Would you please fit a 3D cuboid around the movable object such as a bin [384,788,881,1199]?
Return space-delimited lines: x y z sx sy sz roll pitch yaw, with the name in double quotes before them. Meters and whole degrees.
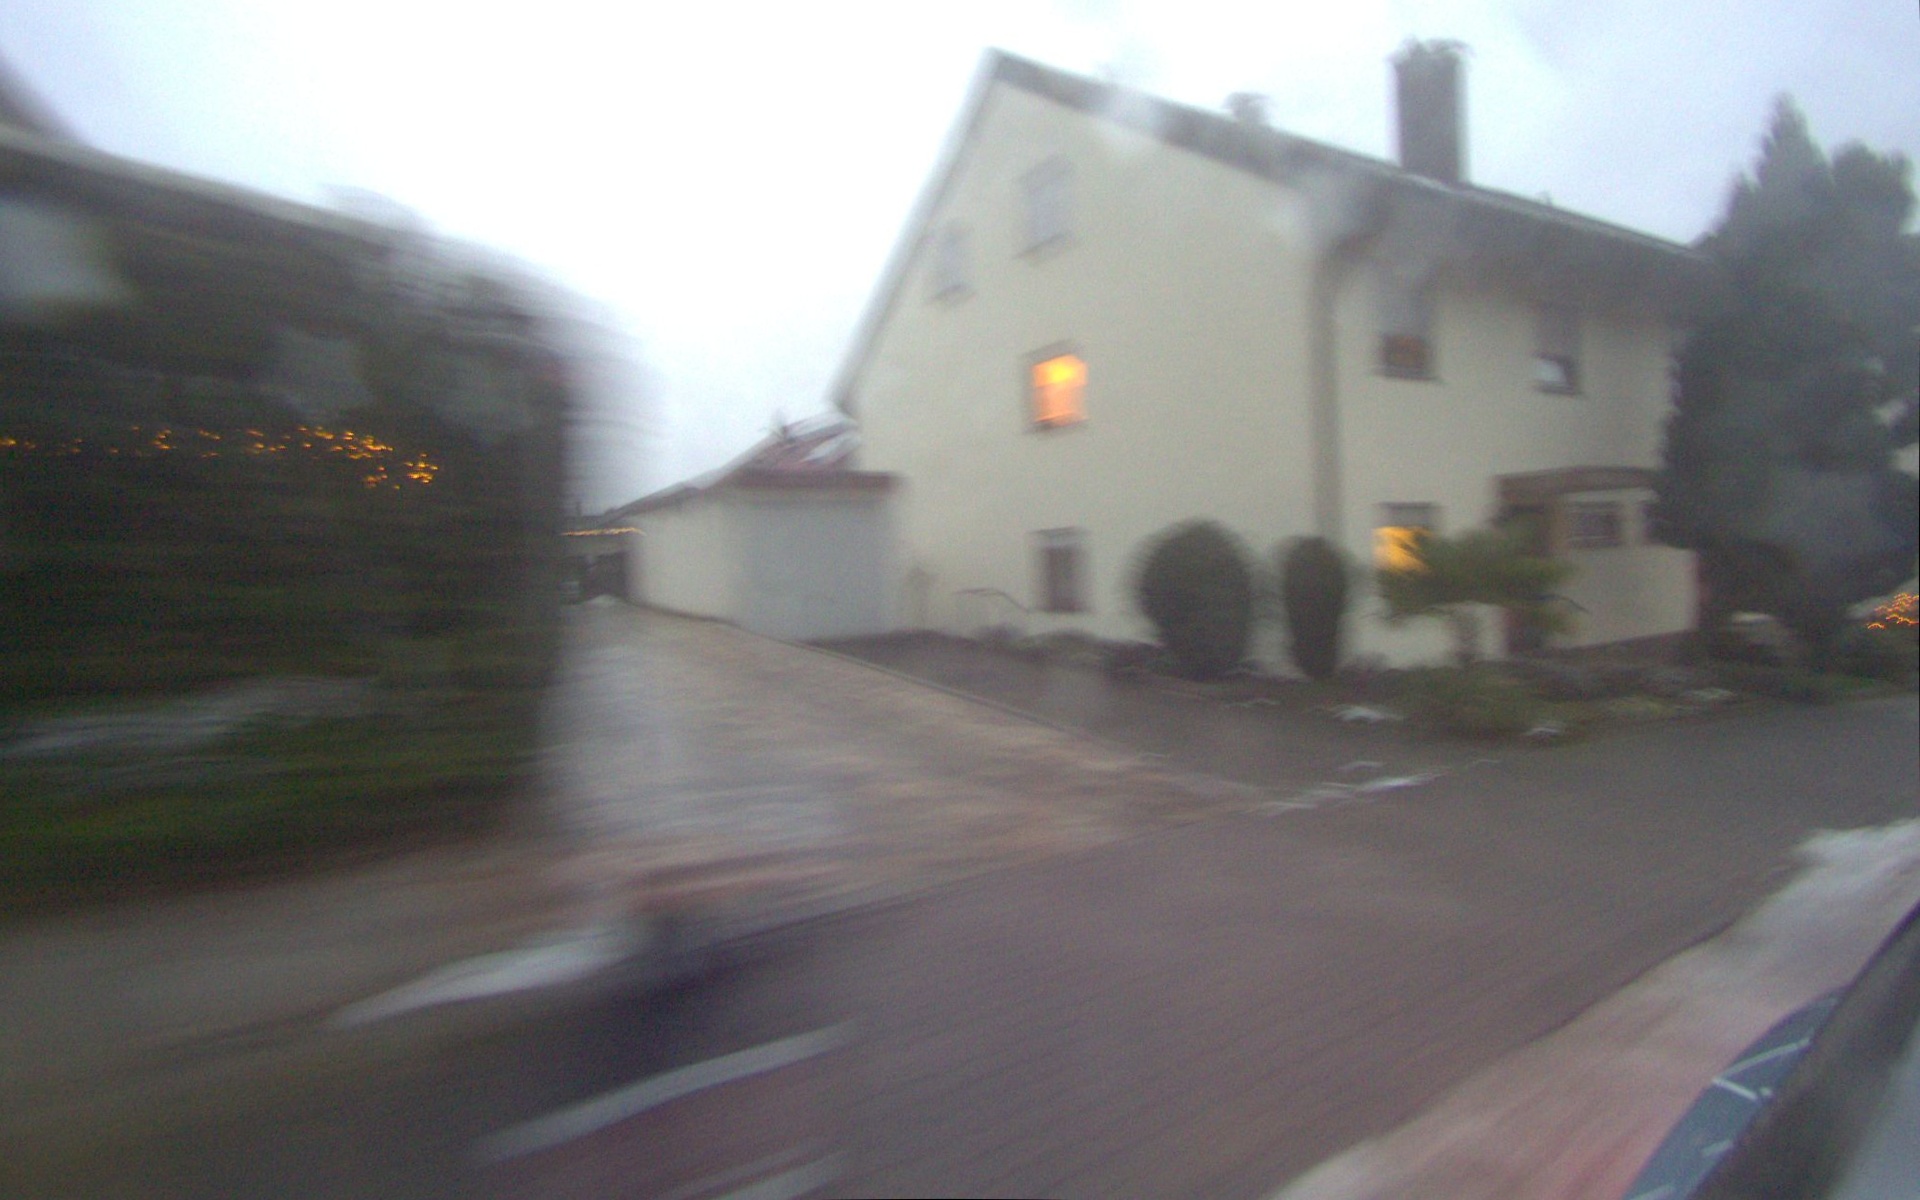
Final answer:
"movable object such as a bin" -0.567 0.882 1.755 0.677 0.950 0.538 0 -1 -39

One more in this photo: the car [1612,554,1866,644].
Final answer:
"car" 18.056 -0.095 23.625 2.027 1.668 4.264 0 5 -39
